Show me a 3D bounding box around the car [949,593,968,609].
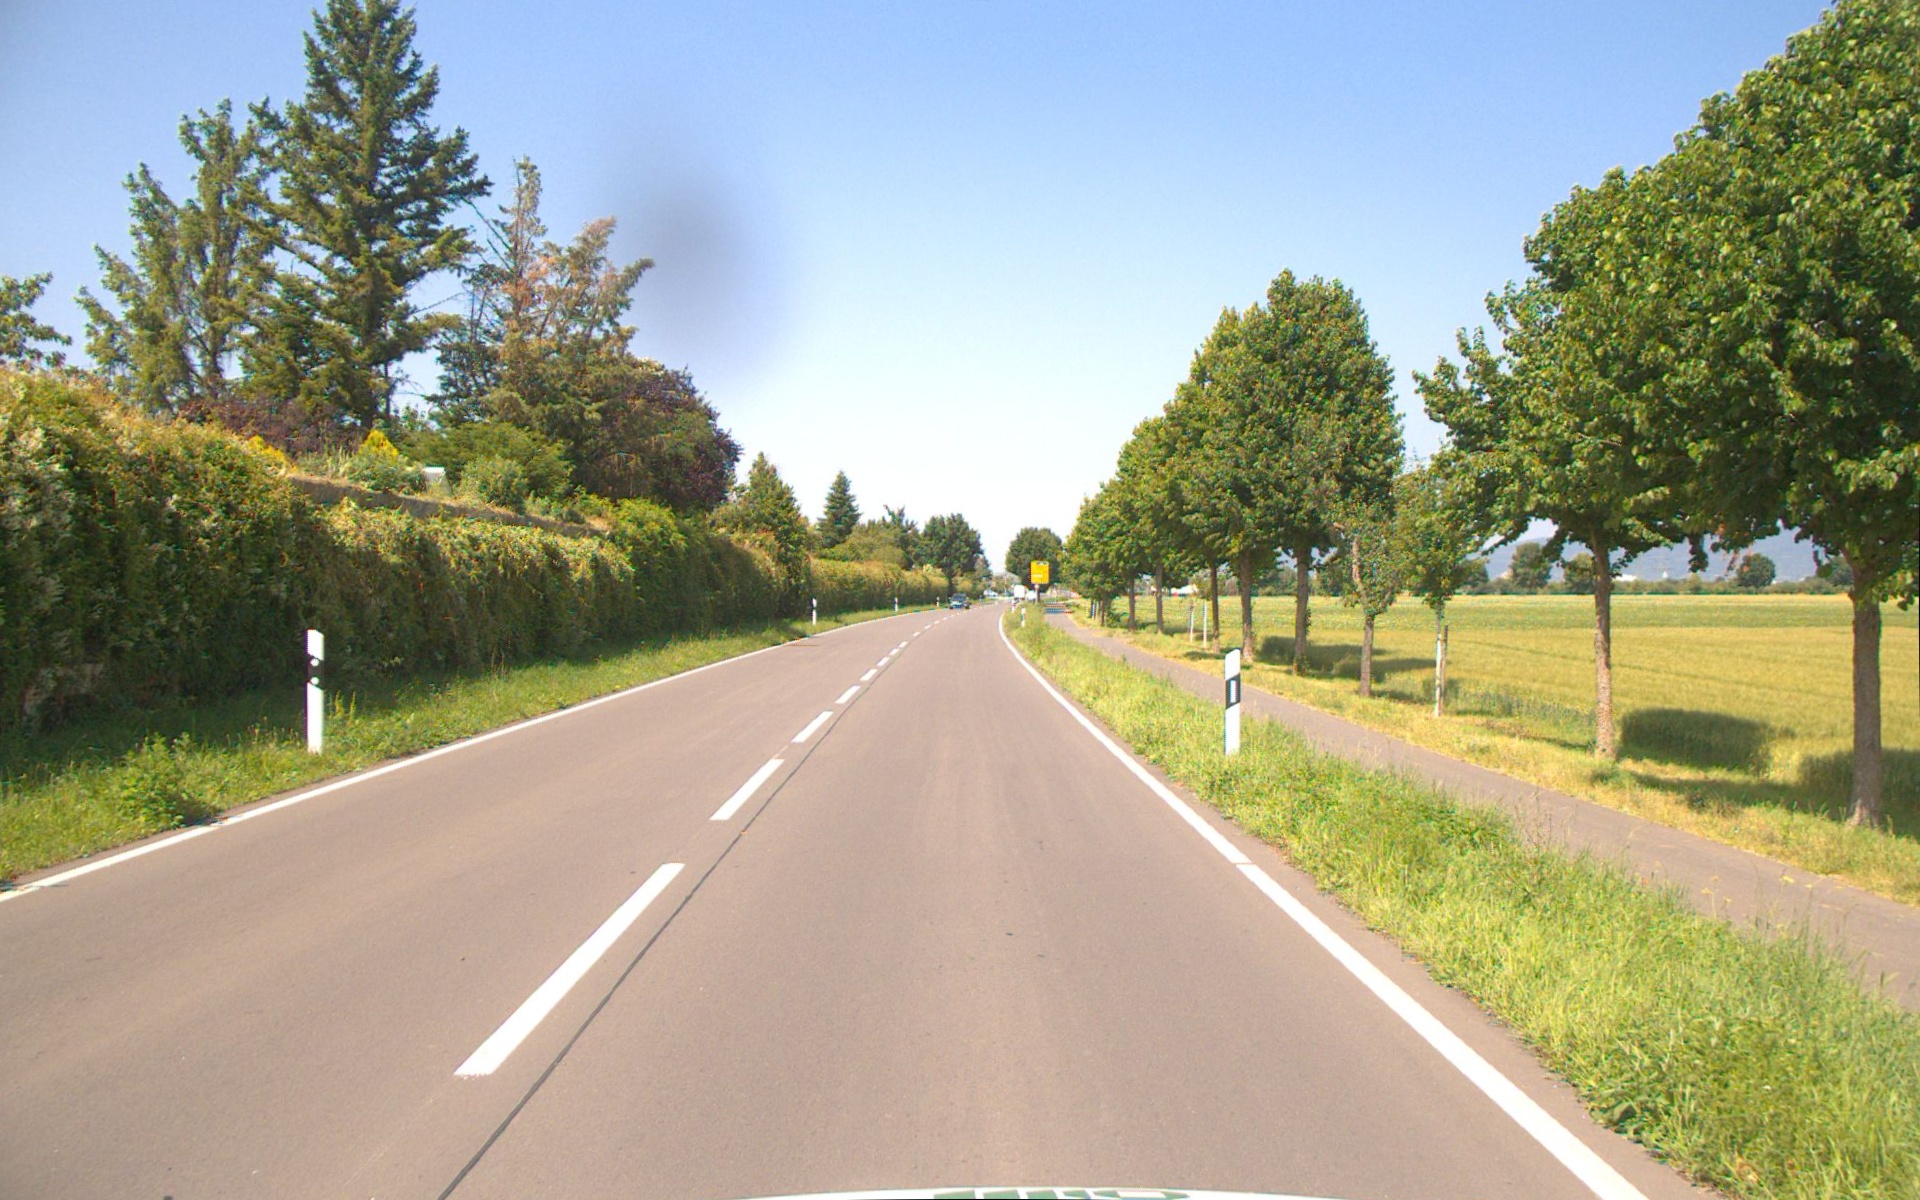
[{"bbox_3d":[-0.177,0.089,157.065,1.802,1.493,3.932,0,0,0],"label":"car"}]
